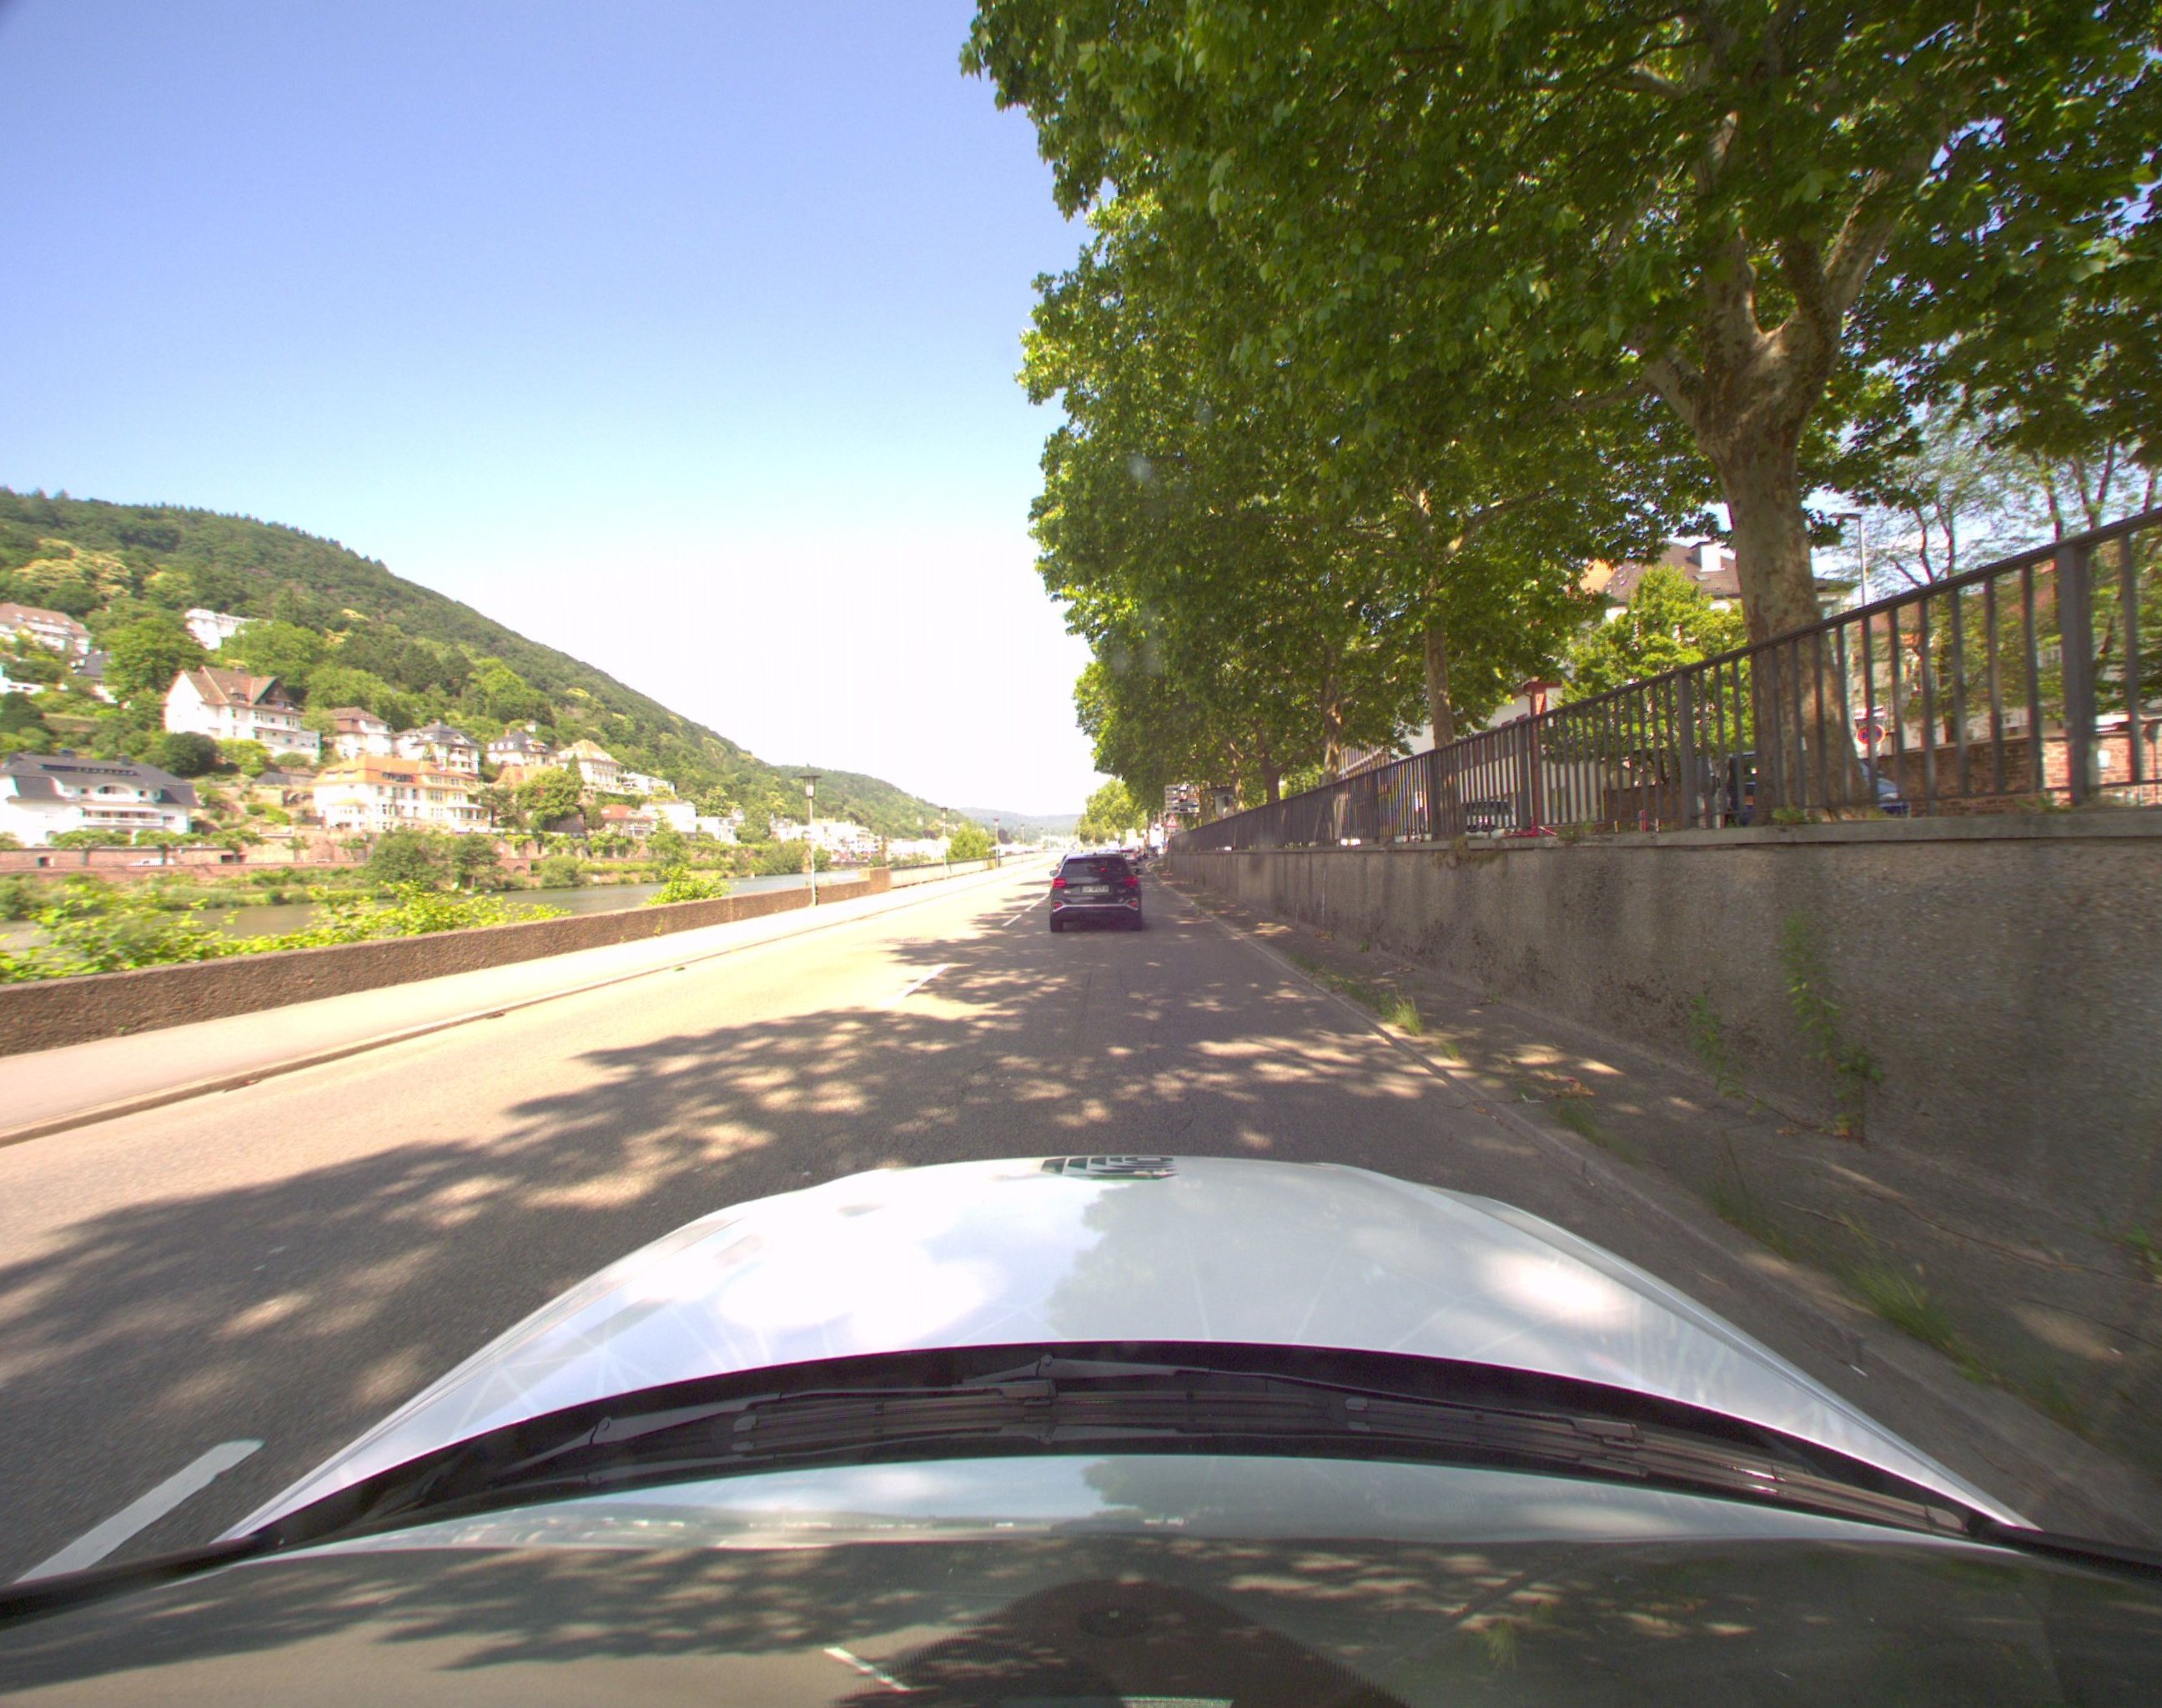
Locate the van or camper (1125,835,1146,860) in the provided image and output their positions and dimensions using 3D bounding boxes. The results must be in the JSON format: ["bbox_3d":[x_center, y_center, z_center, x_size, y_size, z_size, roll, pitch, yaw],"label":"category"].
[{"bbox_3d":[6.618,-0.770,98.927,2.300,2.847,4.249,-4,0,3],"label":"van or camper"}]

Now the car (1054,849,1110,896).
[{"bbox_3d":[0.071,0.612,28.819,1.822,1.511,4.001,-1,0,1],"label":"car"}]

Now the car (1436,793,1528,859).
[{"bbox_3d":[10.128,-0.654,20.410,1.757,1.469,4.025,-1,0,30],"label":"car"}]

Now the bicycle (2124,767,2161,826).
[{"bbox_3d":[18.837,-1.015,13.966,0.414,0.976,1.552,0,-1,20],"label":"bicycle"}]

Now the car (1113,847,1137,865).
[{"bbox_3d":[3.690,0.178,68.698,1.822,1.444,4.001,-1,0,1],"label":"car"}]

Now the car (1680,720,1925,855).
[{"bbox_3d":[9.783,-0.777,11.393,1.633,1.500,3.841,-2,0,27],"label":"car"}]

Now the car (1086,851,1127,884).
[{"bbox_3d":[1.197,0.595,38.881,1.822,1.486,4.001,-1,0,1],"label":"car"}]

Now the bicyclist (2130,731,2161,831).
[{"bbox_3d":[18.799,-1.256,13.916,0.696,1.683,0.849,0,-2,20],"label":"bicyclist"}]

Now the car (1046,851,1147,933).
[{"bbox_3d":[0.337,0.694,16.978,1.822,1.486,4.001,-1,0,1],"label":"car"}]

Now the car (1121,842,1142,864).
[{"bbox_3d":[5.365,-0.146,86.968,1.986,2.169,4.001,-4,0,1],"label":"car"}]

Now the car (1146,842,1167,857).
[{"bbox_3d":[11.470,-0.729,123.599,2.652,2.013,5.826,-5,0,1],"label":"car"}]

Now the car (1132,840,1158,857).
[{"bbox_3d":[8.850,-0.709,112.821,3.087,2.013,5.826,-5,0,1],"label":"car"}]
